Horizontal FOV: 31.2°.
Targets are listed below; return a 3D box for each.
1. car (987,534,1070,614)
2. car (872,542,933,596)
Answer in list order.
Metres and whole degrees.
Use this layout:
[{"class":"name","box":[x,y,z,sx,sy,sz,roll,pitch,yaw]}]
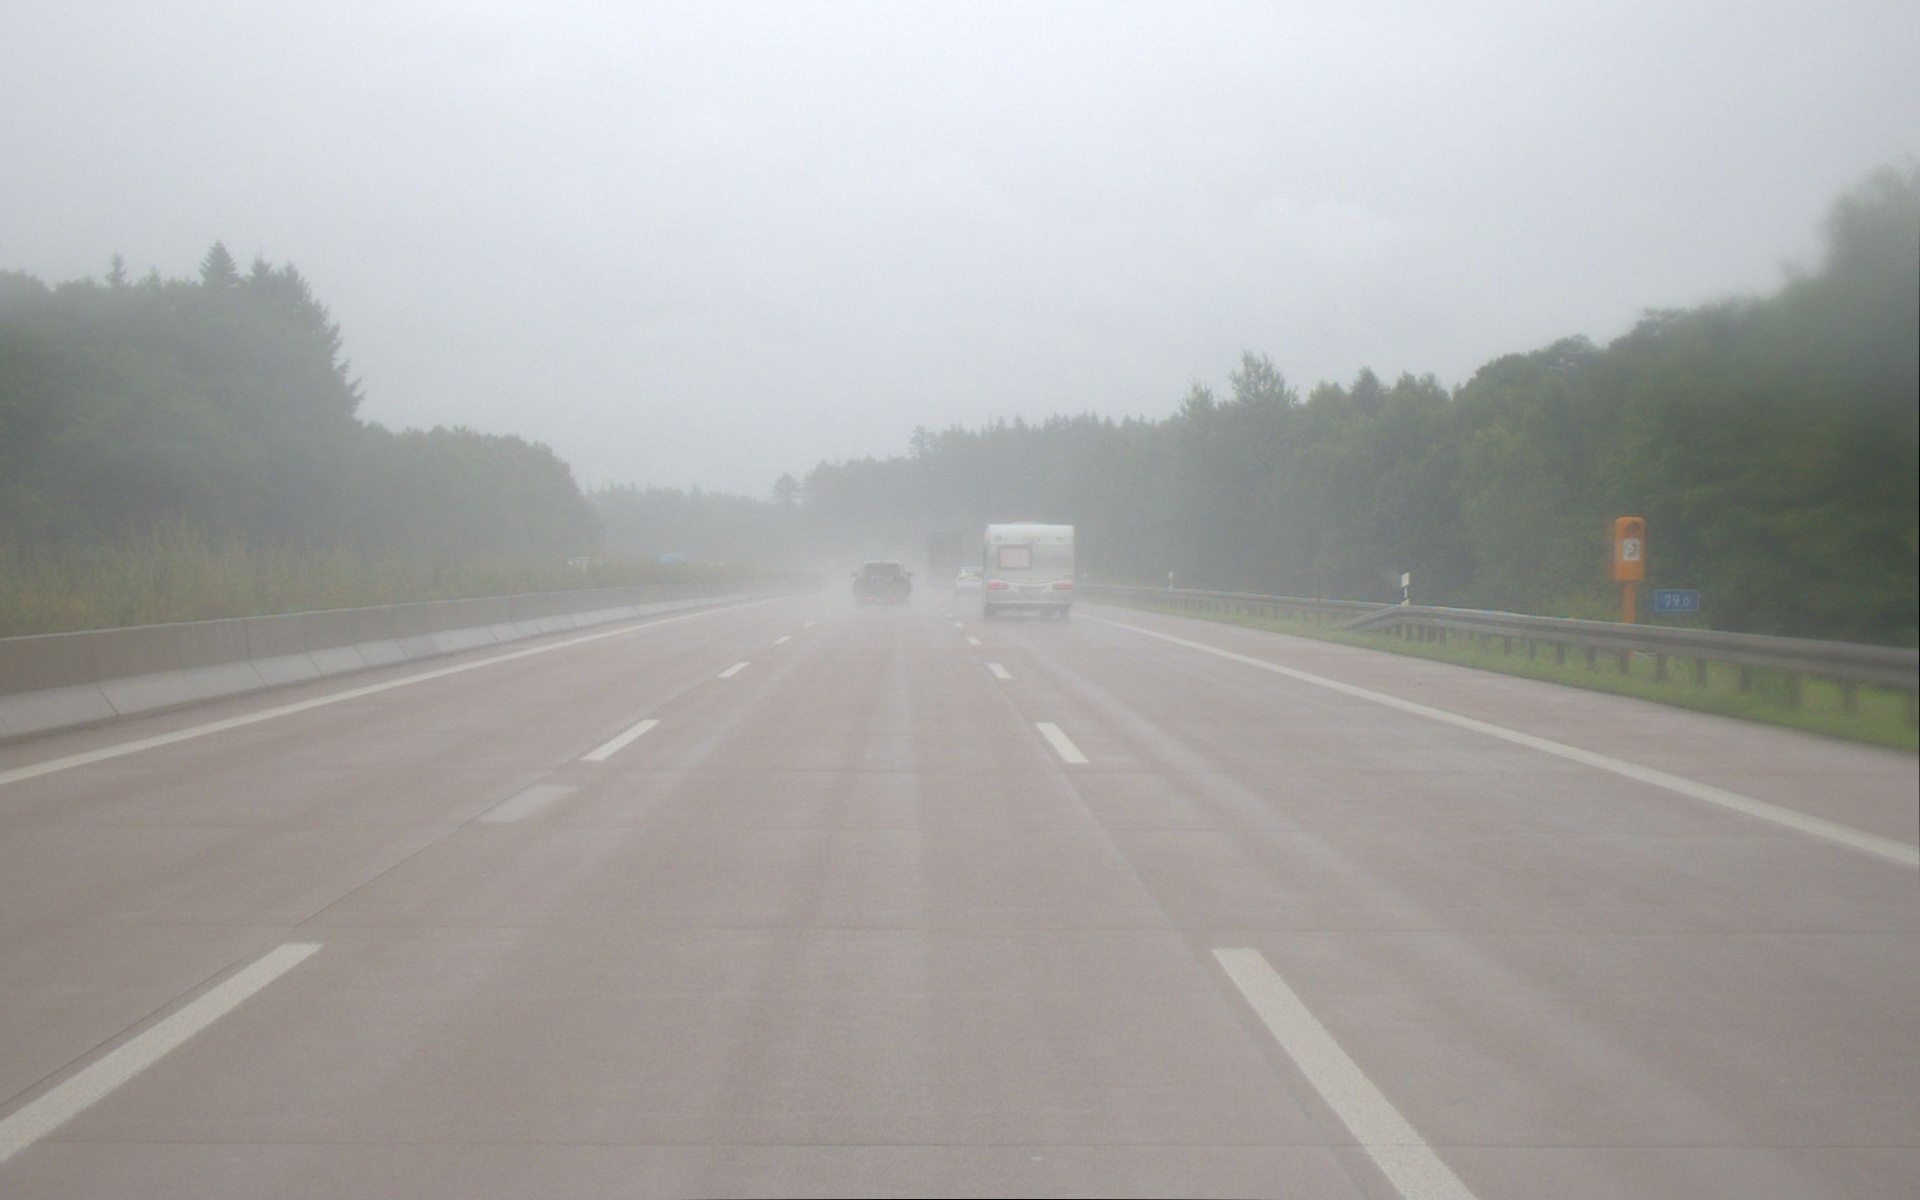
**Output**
[{"class":"car","box":[1.784,-0.700,90.167,2.058,1.993,4.098,2,1,0]},{"class":"car","box":[-1.883,-1.031,113.681,1.937,1.723,4.130,0,1,0]}]
